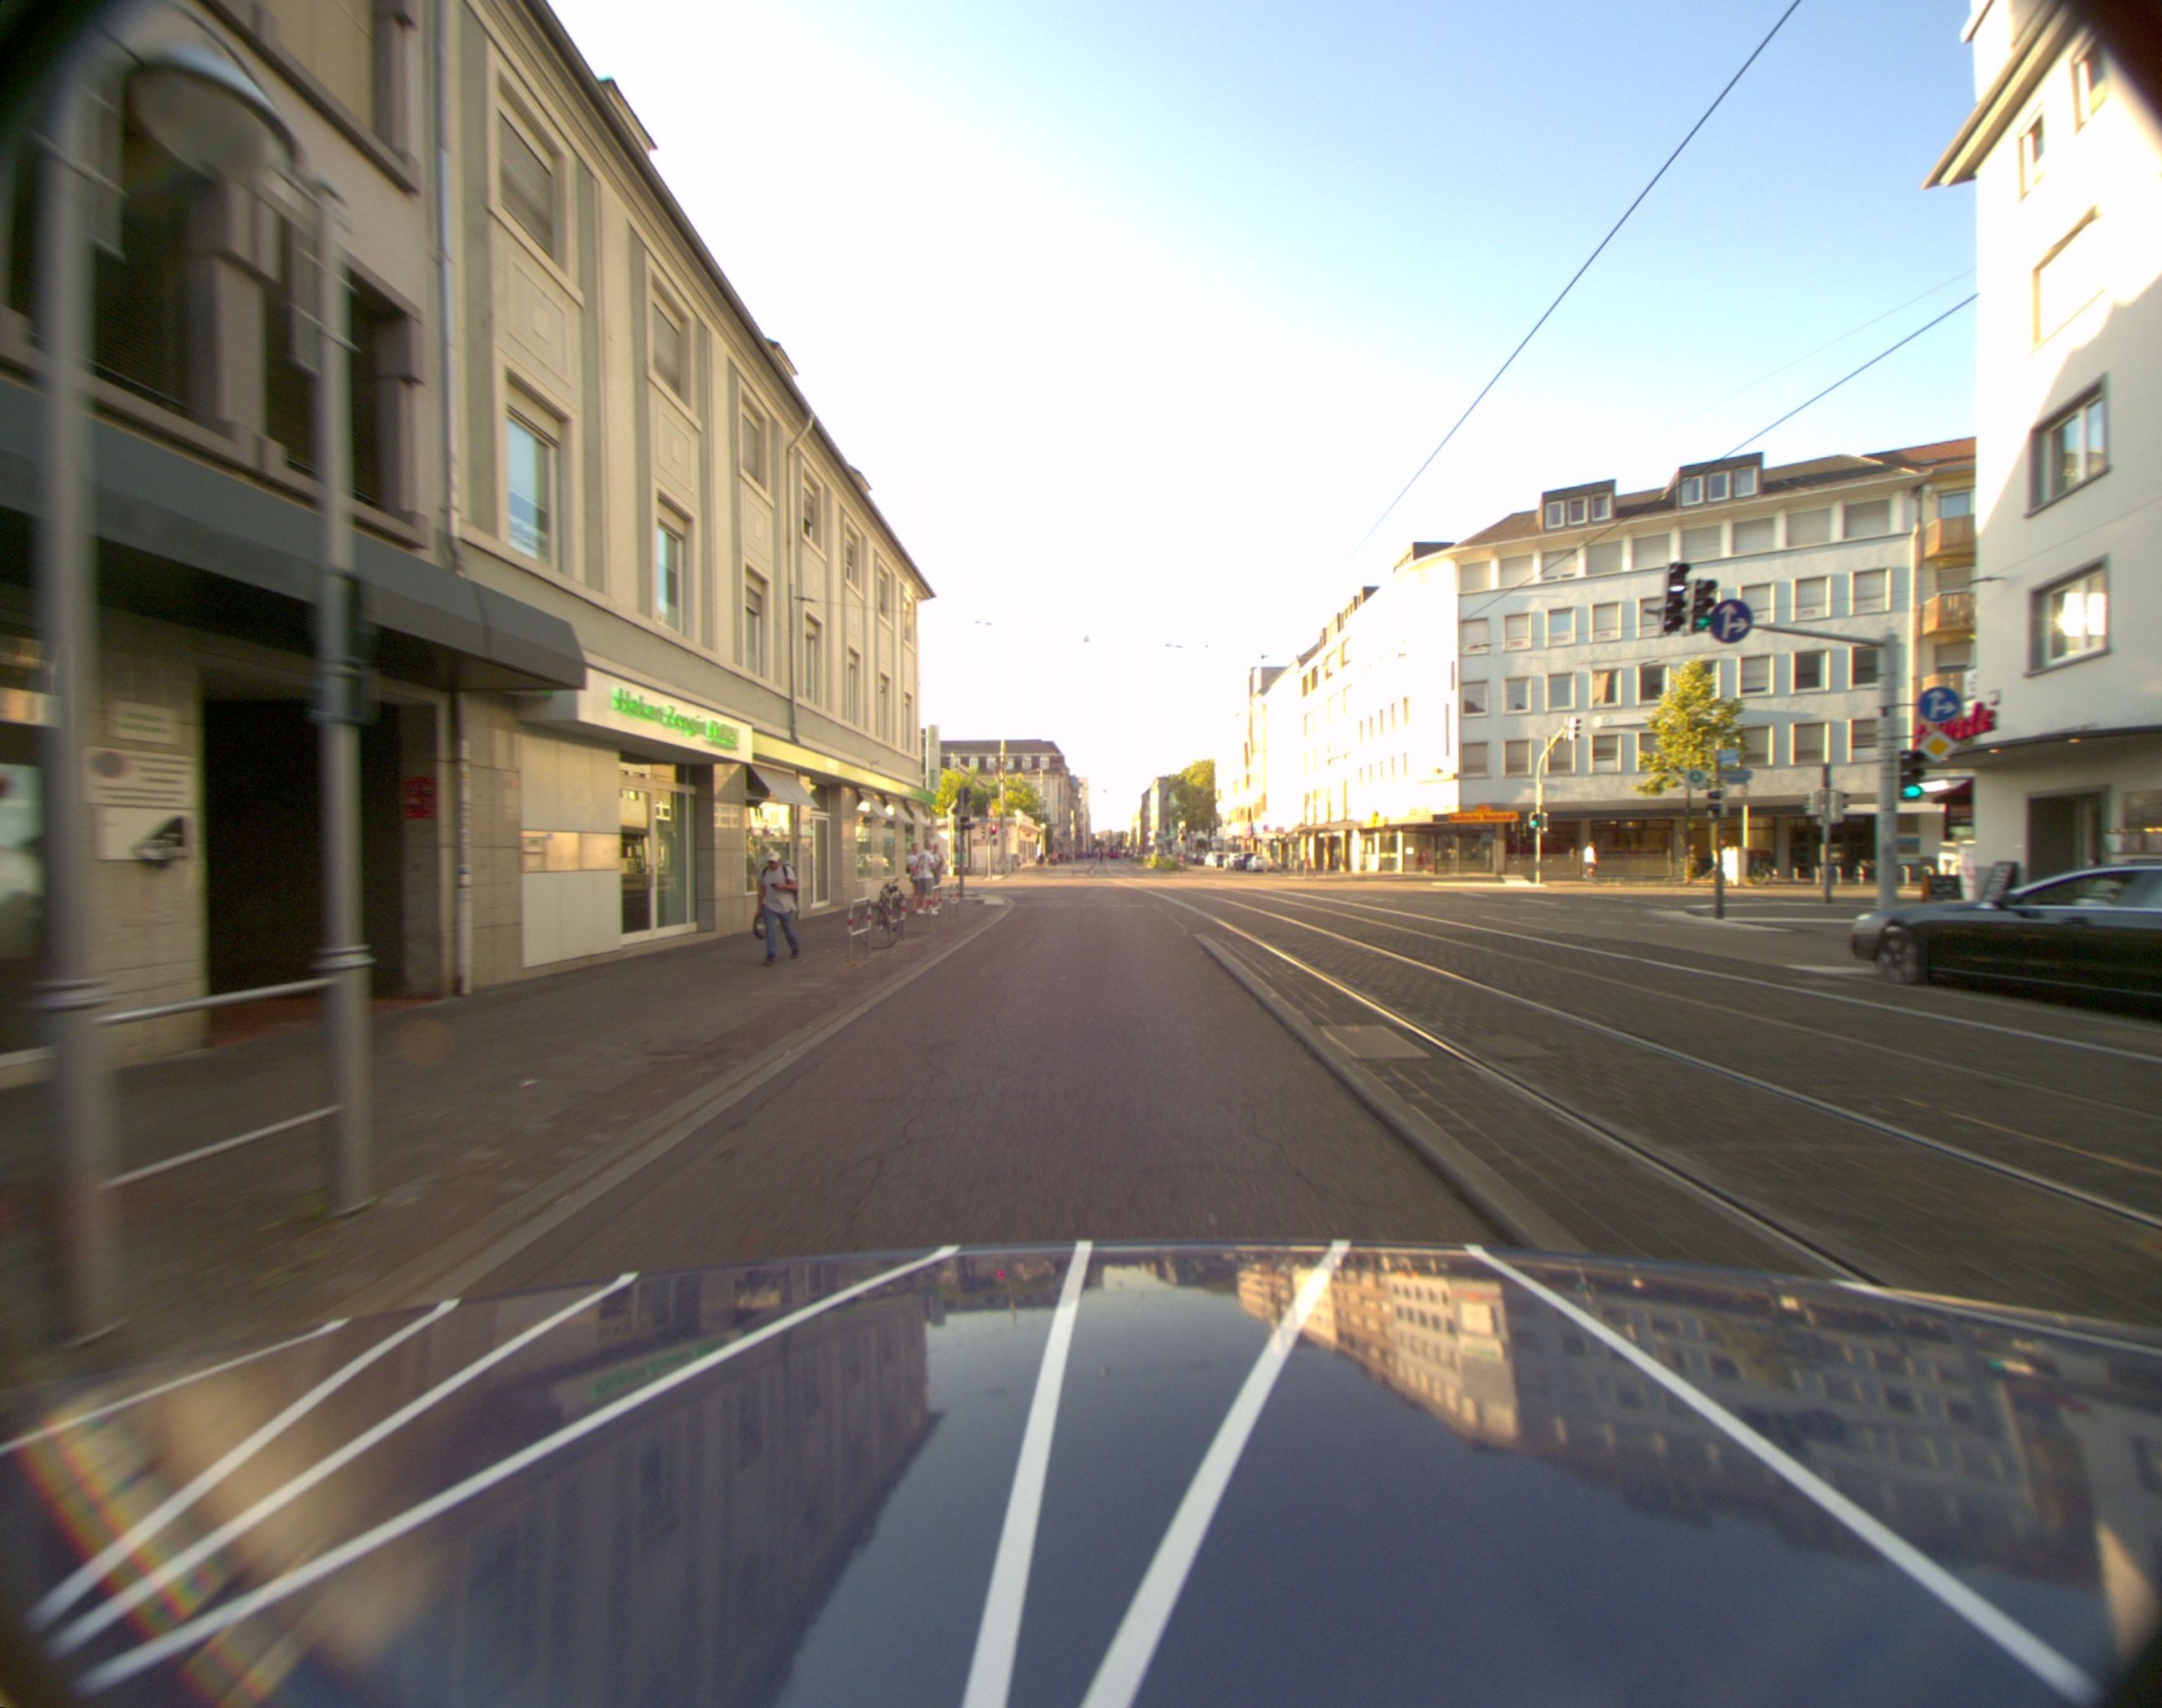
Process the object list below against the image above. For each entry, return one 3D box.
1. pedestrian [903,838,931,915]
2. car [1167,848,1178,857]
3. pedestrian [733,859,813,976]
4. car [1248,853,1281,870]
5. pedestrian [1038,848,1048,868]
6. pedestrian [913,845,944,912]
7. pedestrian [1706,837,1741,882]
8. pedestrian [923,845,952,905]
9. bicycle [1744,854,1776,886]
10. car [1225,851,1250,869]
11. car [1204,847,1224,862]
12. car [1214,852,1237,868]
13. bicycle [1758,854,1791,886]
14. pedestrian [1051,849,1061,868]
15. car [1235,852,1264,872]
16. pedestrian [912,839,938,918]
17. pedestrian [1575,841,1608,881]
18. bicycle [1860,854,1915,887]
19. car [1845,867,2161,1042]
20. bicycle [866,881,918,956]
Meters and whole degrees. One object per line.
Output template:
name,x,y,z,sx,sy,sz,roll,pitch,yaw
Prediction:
pedestrian,-4.130,0.561,19.123,0.640,1.917,0.529,0,1,-10
car,17.302,-0.295,143.258,1.847,1.626,4.001,0,0,4
pedestrian,-4.261,0.849,10.574,0.698,1.539,0.870,0,1,4
car,14.352,0.568,59.597,1.847,1.287,4.001,0,0,4
pedestrian,-3.260,0.340,65.446,0.806,1.603,0.994,-2,2,1
pedestrian,-4.039,0.639,20.134,0.639,1.735,0.699,0,1,4
pedestrian,27.261,0.224,32.246,0.808,1.876,0.991,-3,2,-36
pedestrian,-4.299,0.610,22.732,0.671,1.768,0.648,0,1,6
bicycle,26.718,0.601,29.920,0.469,1.196,1.922,0,1,28
car,14.547,0.567,70.849,1.847,1.626,4.001,0,0,4
car,14.618,0.033,83.814,1.847,1.626,4.001,0,0,4
car,14.890,0.606,78.402,1.847,1.626,4.001,0,0,4
bicycle,27.228,0.609,29.841,0.469,1.196,1.922,0,1,28
pedestrian,-2.155,0.377,65.321,0.806,1.603,0.994,-2,2,1
car,14.237,0.650,64.422,1.847,1.626,4.001,0,0,4
pedestrian,-3.816,0.589,18.637,0.576,1.917,0.496,0,1,-9
pedestrian,22.719,0.290,33.846,0.808,1.716,0.991,-3,2,-36
bicycle,30.158,0.605,28.445,0.469,1.196,1.921,0,0,15
car,9.907,0.889,6.646,1.919,1.378,4.564,2,1,2
bicycle,-3.144,1.048,12.741,0.479,1.083,1.647,1,1,-1
